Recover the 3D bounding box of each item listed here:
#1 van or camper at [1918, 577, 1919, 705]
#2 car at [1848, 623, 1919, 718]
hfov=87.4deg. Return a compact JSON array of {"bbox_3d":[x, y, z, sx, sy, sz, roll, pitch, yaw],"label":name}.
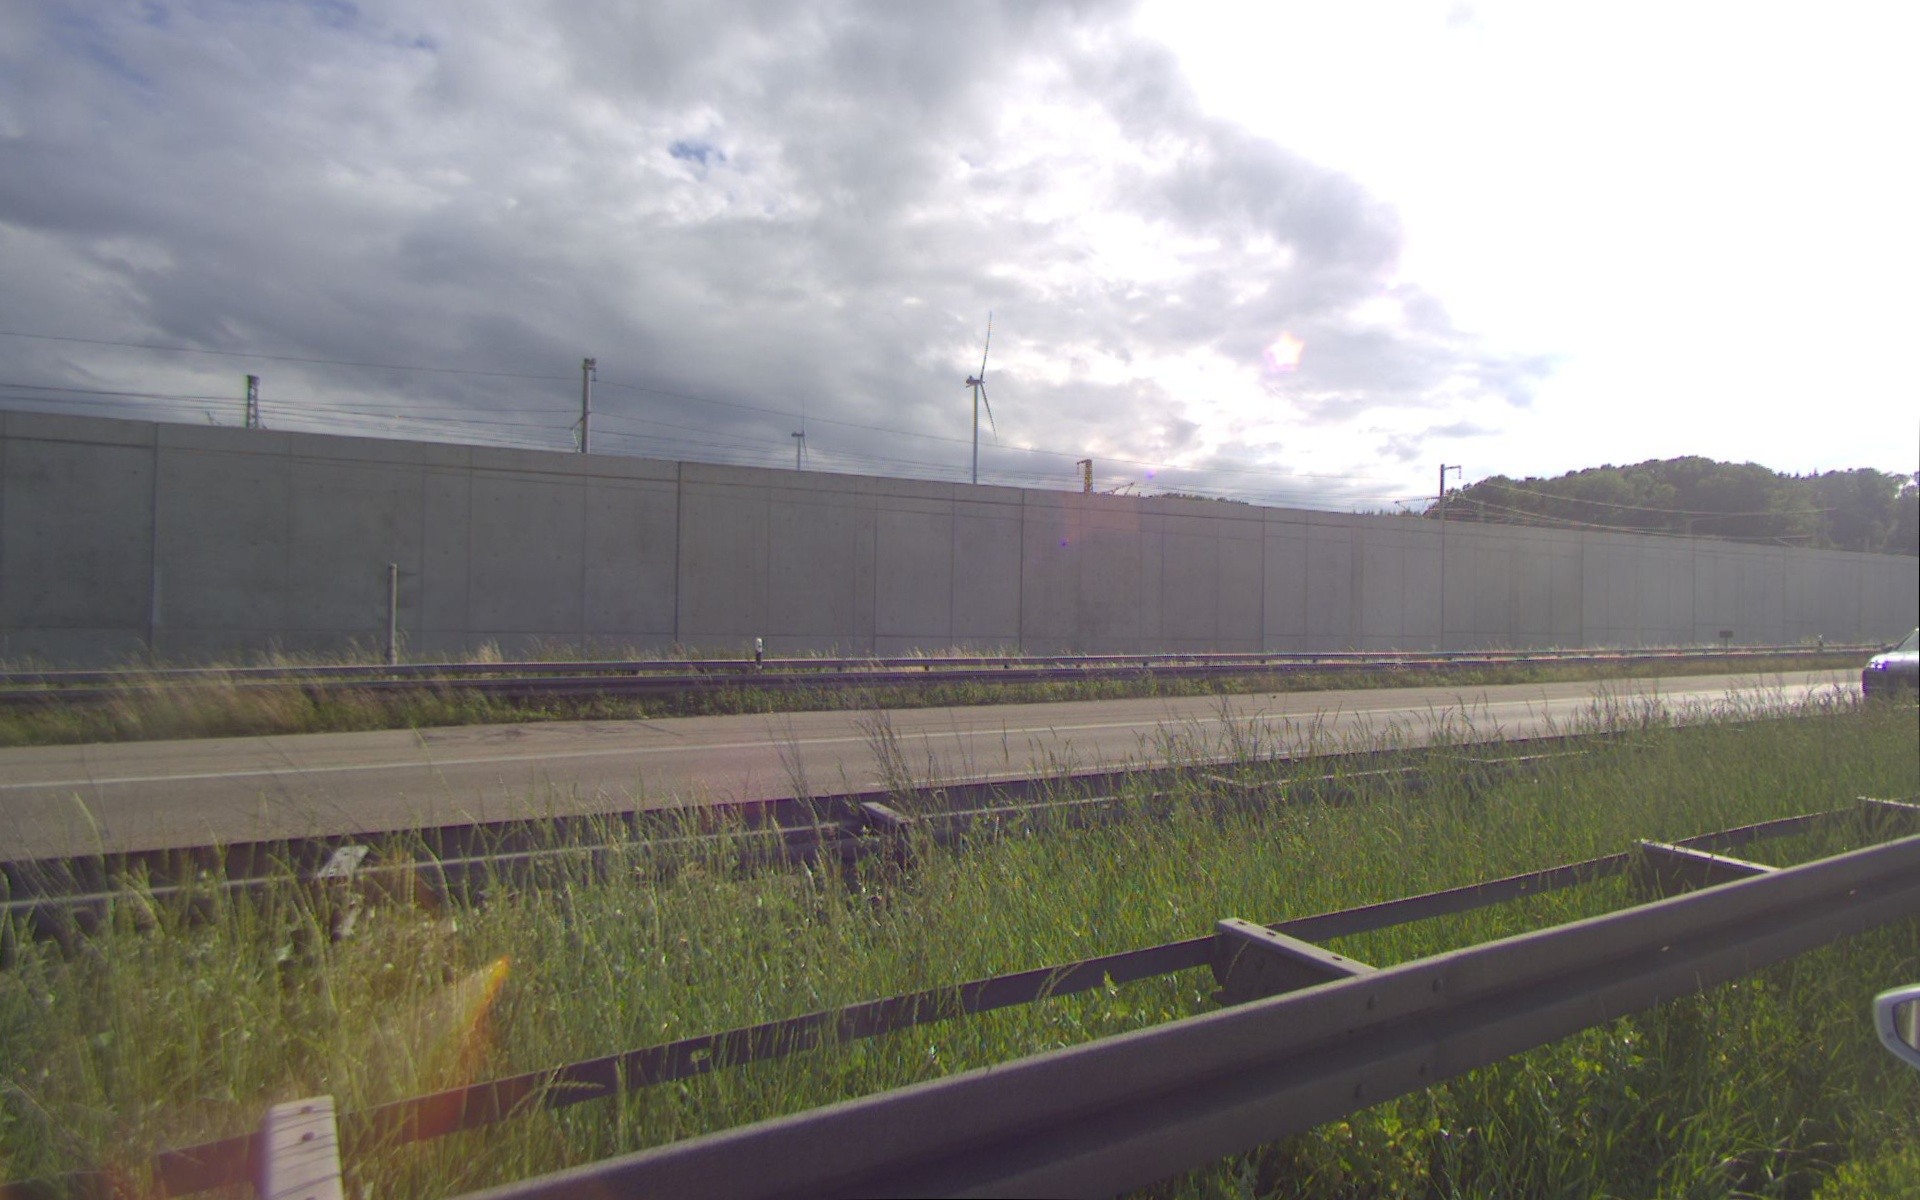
[{"bbox_3d":[24.114,0.945,22.373,7.088,2.740,2.241,2,-1,-31],"label":"van or camper"},{"bbox_3d":[19.210,1.337,19.391,4.312,1.693,1.901,2,-1,-31],"label":"car"}]
